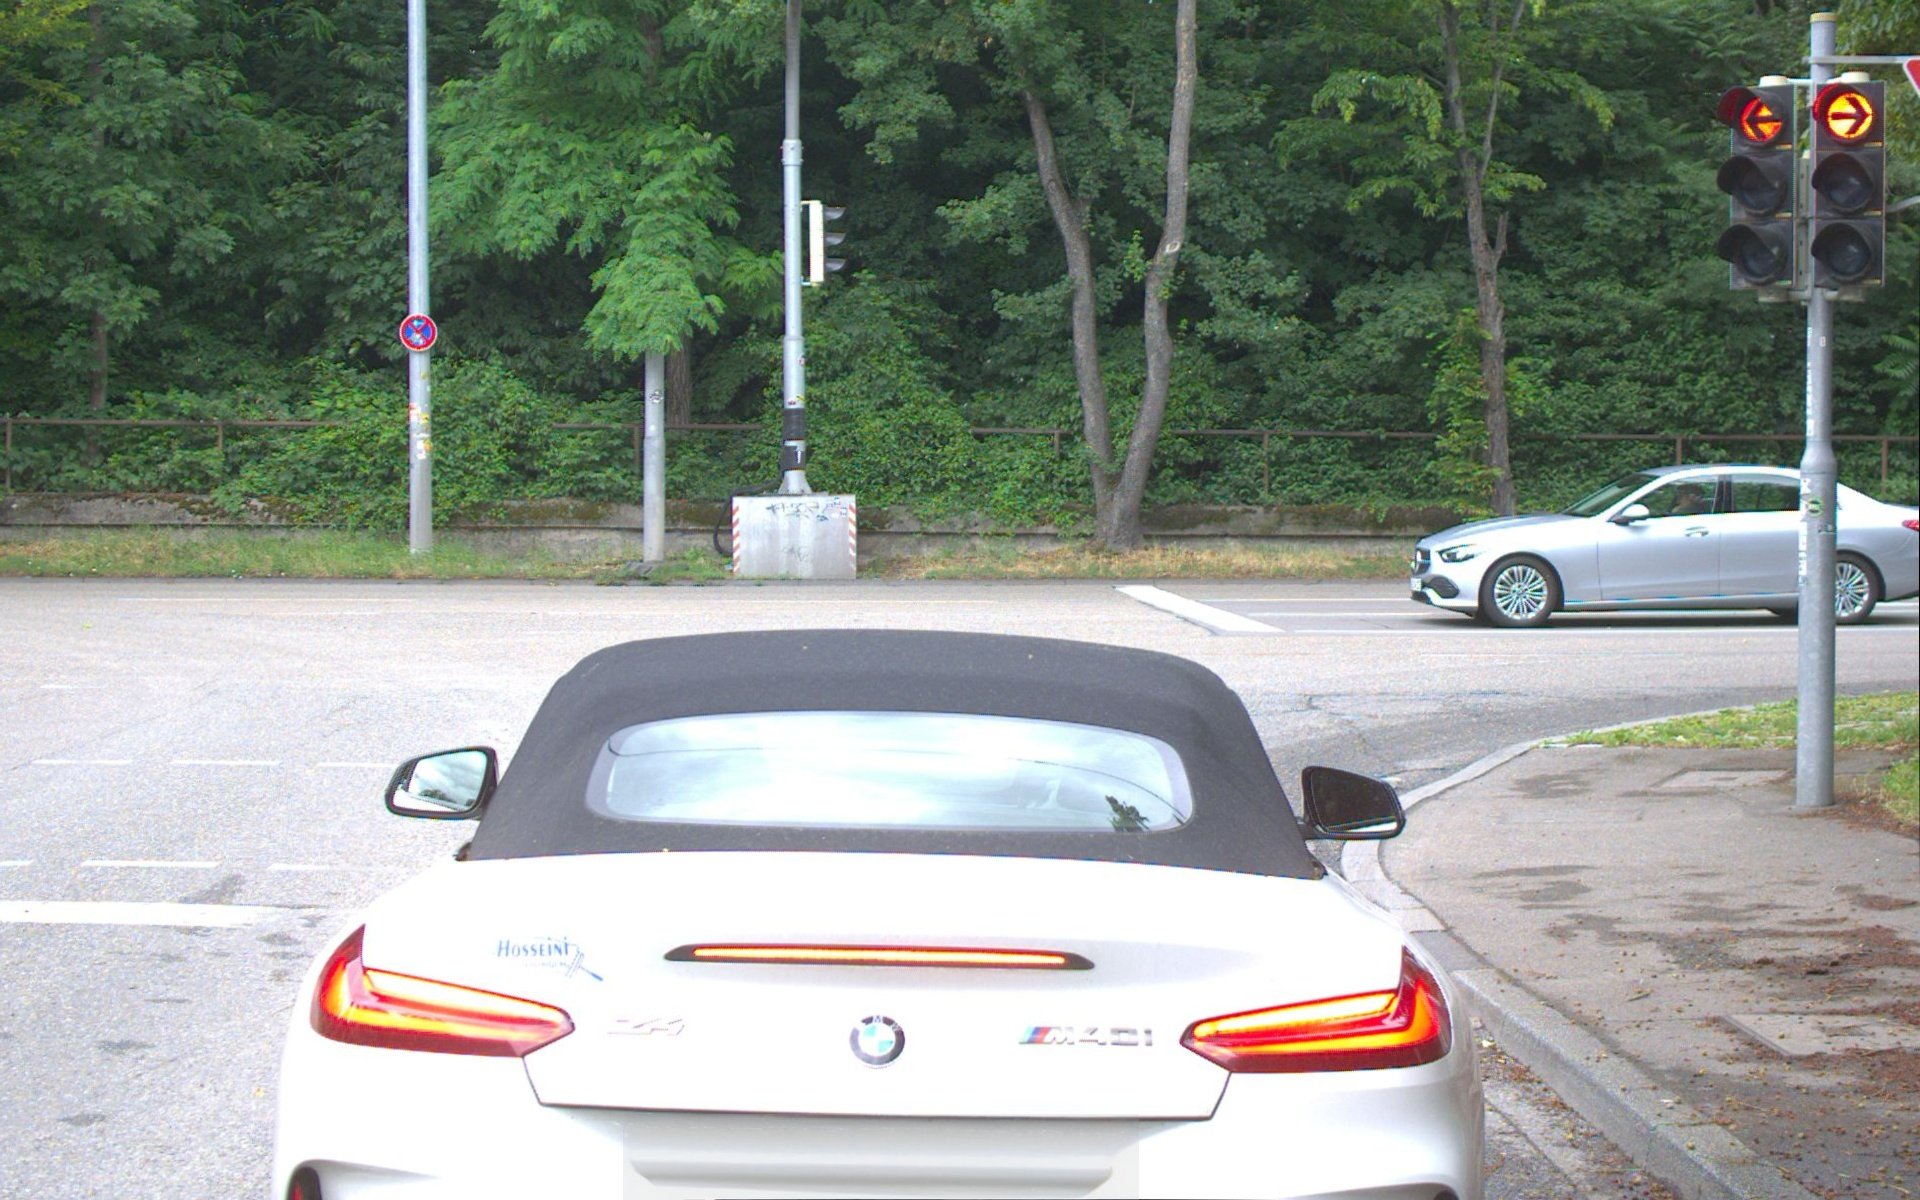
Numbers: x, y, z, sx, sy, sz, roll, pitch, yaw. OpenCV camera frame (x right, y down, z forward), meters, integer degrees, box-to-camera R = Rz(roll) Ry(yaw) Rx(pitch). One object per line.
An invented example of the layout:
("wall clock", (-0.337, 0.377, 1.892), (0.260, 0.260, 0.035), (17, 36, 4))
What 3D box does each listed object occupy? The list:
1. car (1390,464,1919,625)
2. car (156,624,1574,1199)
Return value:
("car", (6.408, -0.515, 31.048), (4.751, 1.329, 1.834), (1, 3, -2))
("car", (-0.215, 0.699, 6.473), (1.827, 1.253, 4.000), (2, 0, -3))
